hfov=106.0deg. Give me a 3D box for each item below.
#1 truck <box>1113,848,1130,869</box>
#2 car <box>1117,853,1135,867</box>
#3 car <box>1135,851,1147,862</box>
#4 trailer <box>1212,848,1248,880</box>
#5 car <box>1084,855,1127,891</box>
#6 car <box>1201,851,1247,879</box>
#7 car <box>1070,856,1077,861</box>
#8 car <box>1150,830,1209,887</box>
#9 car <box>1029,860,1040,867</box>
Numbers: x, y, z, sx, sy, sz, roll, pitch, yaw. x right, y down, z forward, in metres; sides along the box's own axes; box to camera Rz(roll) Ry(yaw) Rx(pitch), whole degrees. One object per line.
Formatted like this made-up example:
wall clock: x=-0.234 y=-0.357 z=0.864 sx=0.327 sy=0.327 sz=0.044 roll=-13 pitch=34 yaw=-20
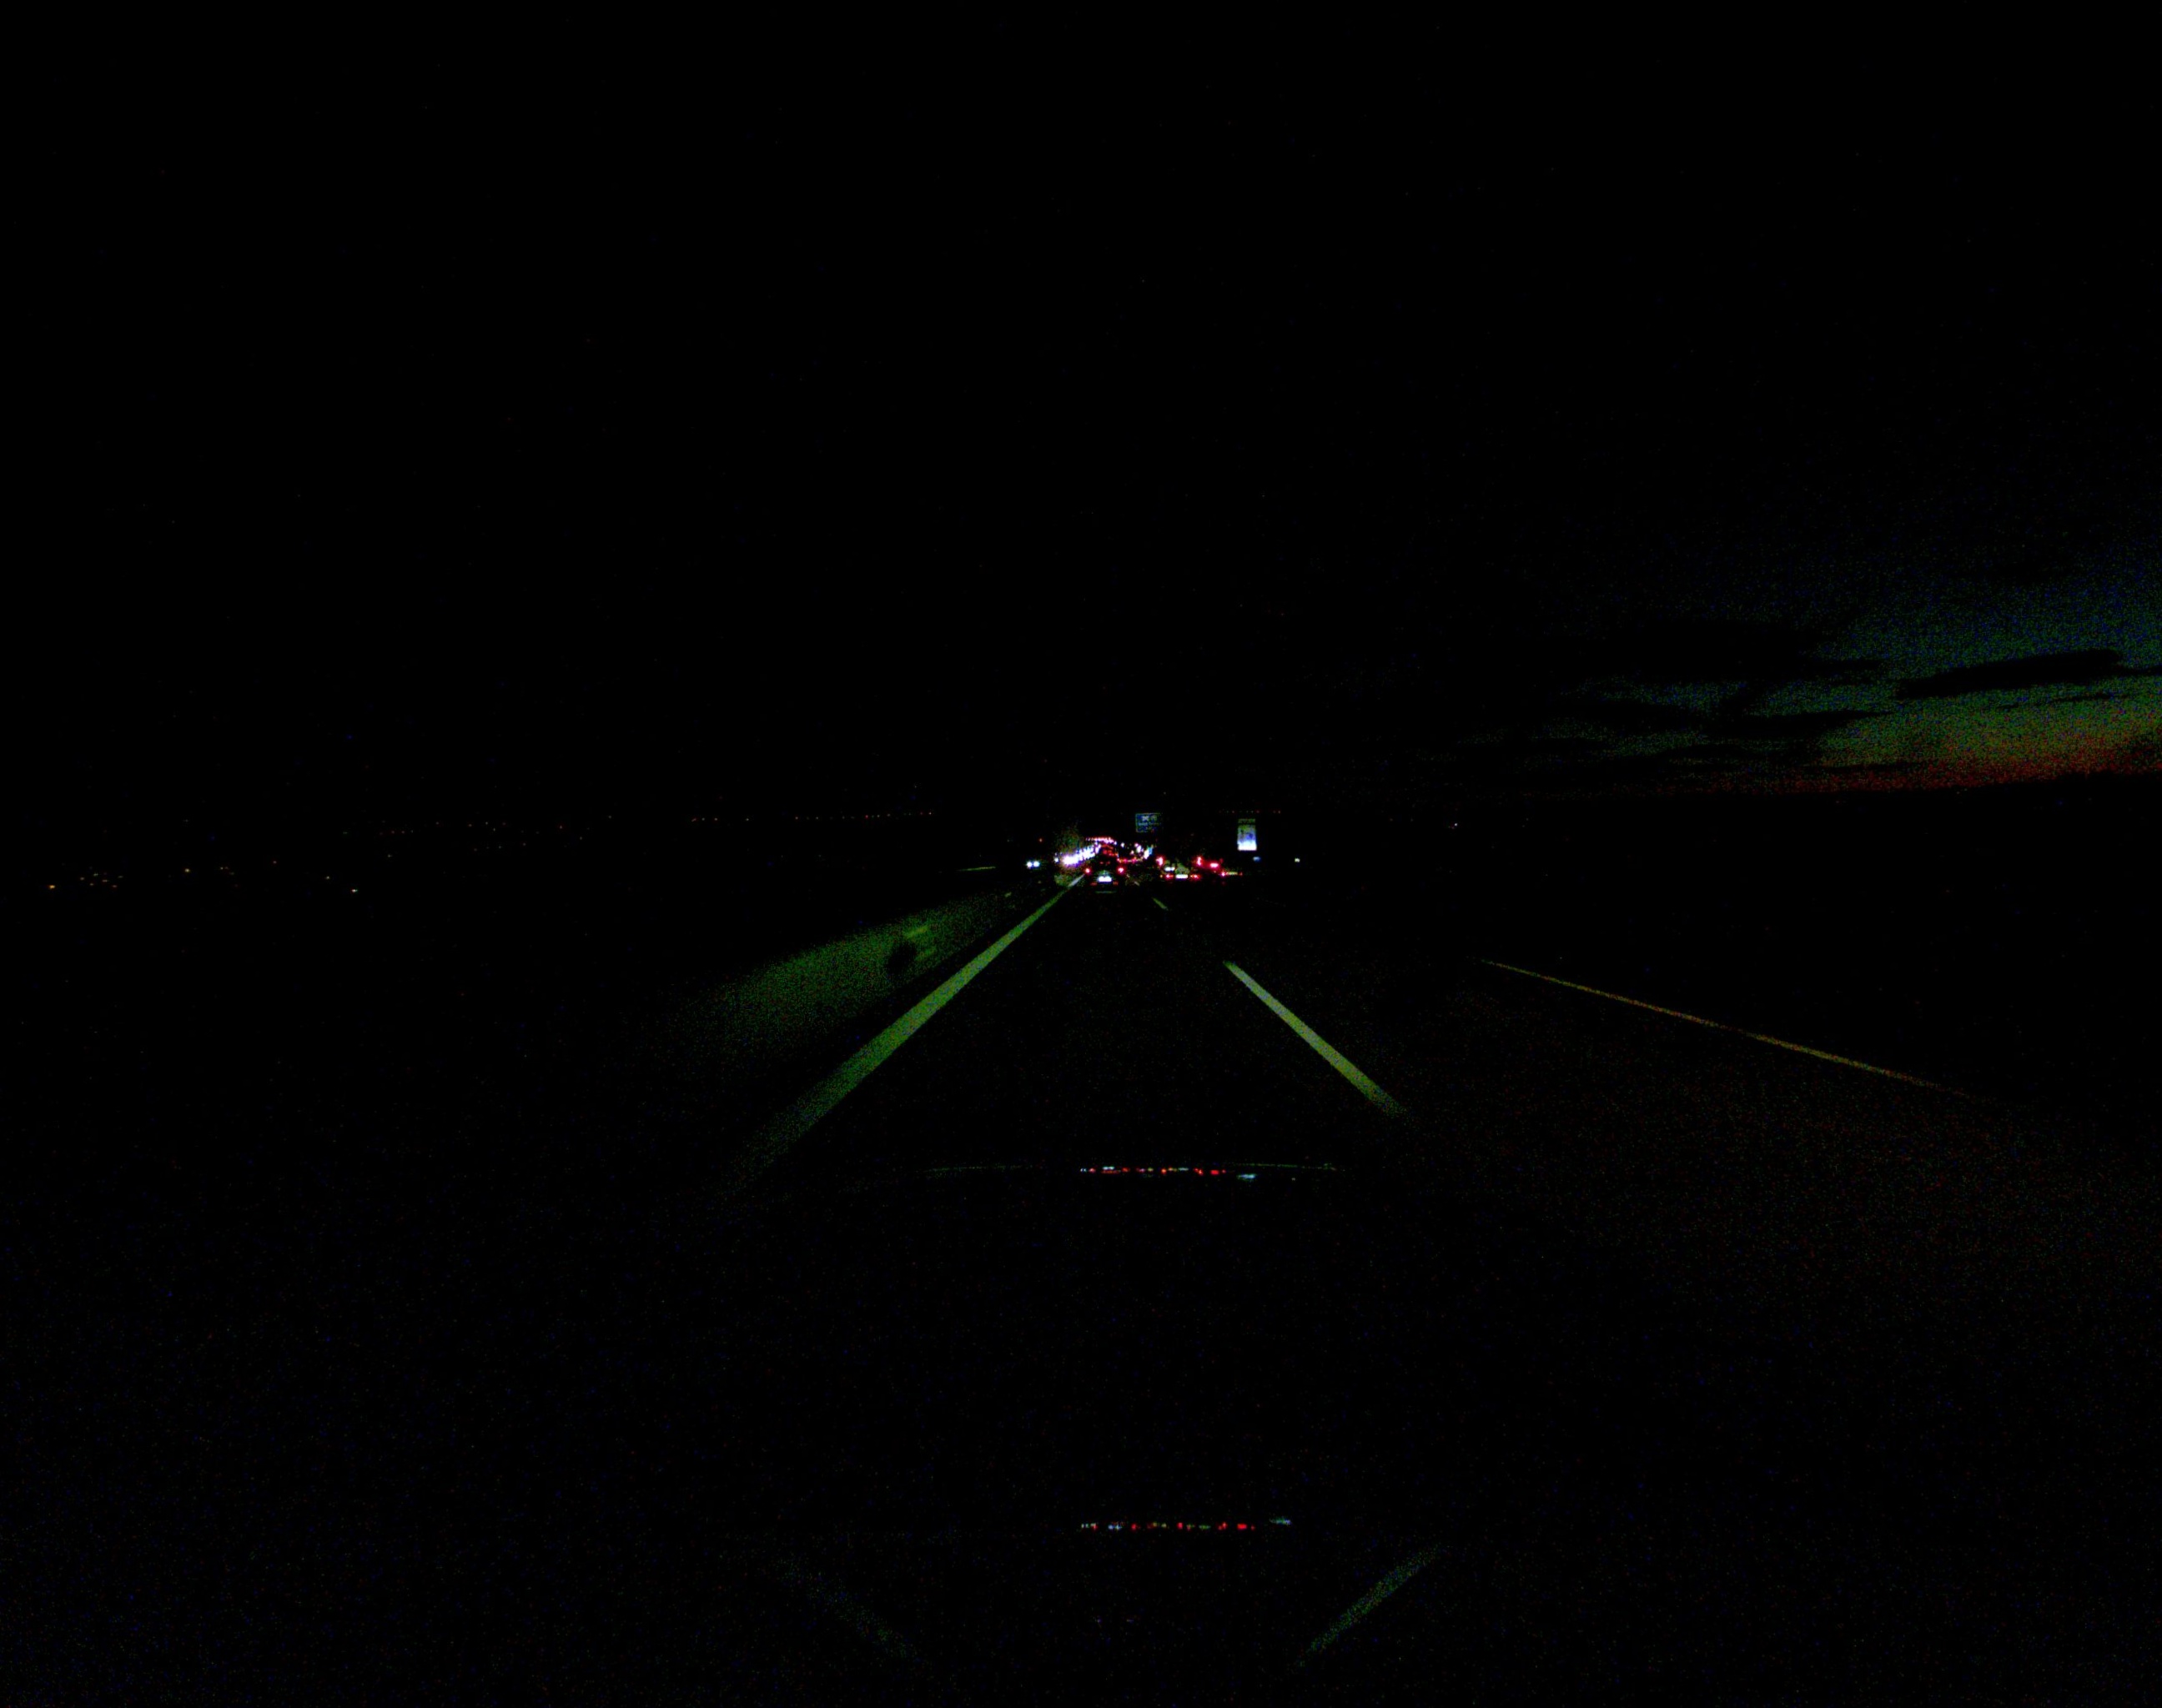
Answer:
truck: x=7.816 y=0.833 z=156.685 sx=2.772 sy=3.955 sz=7.992 roll=-2 pitch=0 yaw=0
car: x=6.491 y=0.863 z=117.445 sx=2.342 sy=1.914 sz=4.725 roll=-2 pitch=0 yaw=2
car: x=12.690 y=0.477 z=173.237 sx=2.342 sy=2.076 sz=4.725 roll=-2 pitch=0 yaw=2
trailer: x=8.413 y=0.560 z=46.204 sx=1.560 sy=1.693 sz=2.822 roll=-2 pitch=0 yaw=2
car: x=1.124 y=0.802 z=36.736 sx=1.787 sy=1.469 sz=3.775 roll=-1 pitch=0 yaw=2
car: x=8.682 y=0.628 z=49.818 sx=2.154 sy=1.563 sz=4.725 roll=-2 pitch=0 yaw=2
car: x=-2.405 y=1.476 z=255.870 sx=1.805 sy=1.643 sz=4.159 roll=-2 pitch=0 yaw=2
car: x=4.753 y=0.182 z=40.142 sx=2.342 sy=2.535 sz=5.704 roll=-2 pitch=0 yaw=2
car: x=-10.616 y=2.215 z=184.625 sx=1.987 sy=1.478 sz=5.045 roll=-4 pitch=0 yaw=1
